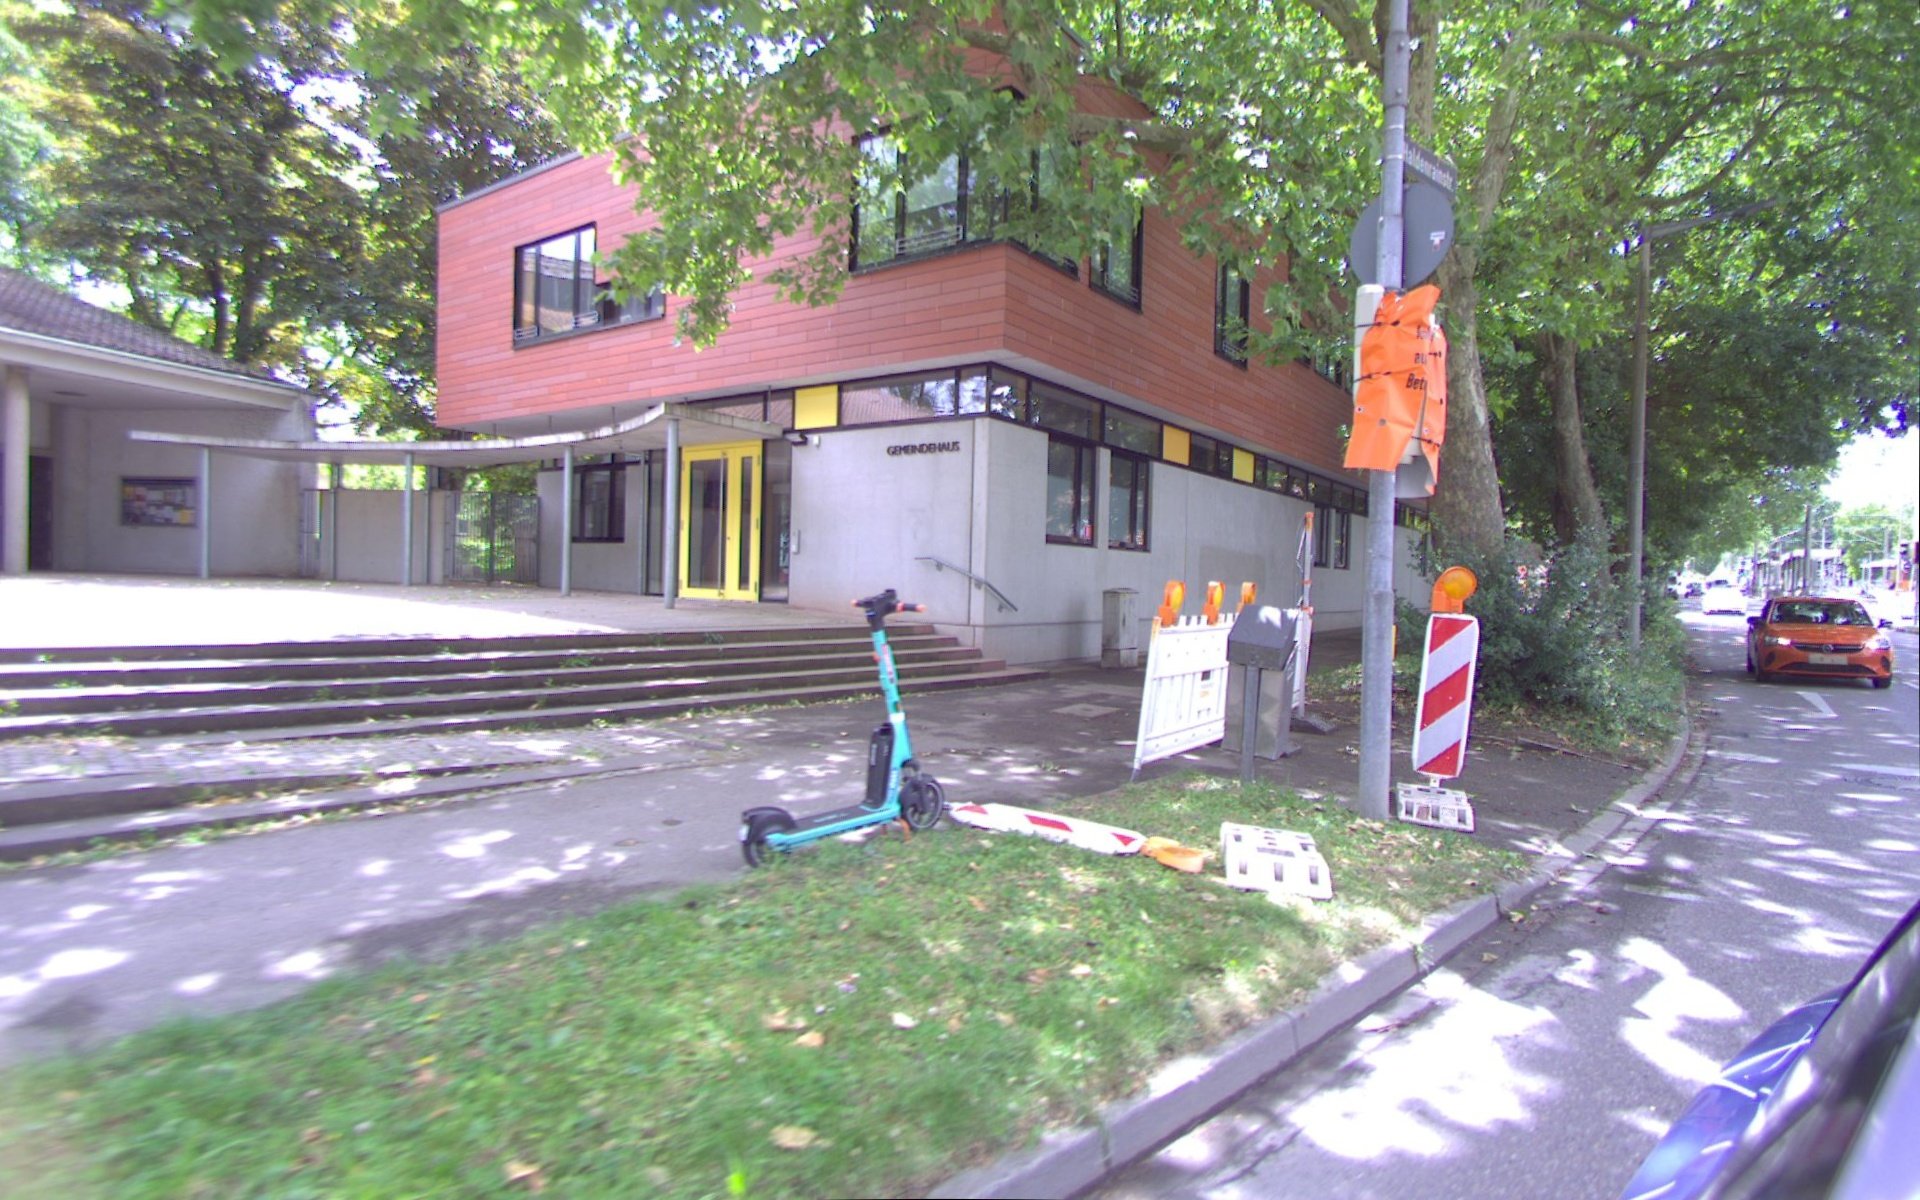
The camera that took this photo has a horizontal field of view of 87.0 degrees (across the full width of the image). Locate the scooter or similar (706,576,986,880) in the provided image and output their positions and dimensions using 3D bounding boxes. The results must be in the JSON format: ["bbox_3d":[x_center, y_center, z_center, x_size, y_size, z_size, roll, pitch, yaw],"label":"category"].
[{"bbox_3d":[-0.519,0.529,4.793,1.173,1.247,0.565,0,2,-40],"label":"scooter or similar"}]

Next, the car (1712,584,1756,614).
[{"bbox_3d":[39.914,-0.085,52.253,1.760,1.431,4.181,1,1,37],"label":"car"}]

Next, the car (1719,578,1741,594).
[{"bbox_3d":[91.191,-1.645,119.845,1.990,1.838,3.946,4,3,38],"label":"car"}]

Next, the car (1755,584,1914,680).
[{"bbox_3d":[14.884,0.494,17.408,1.760,1.452,3.788,1,0,36],"label":"car"}]

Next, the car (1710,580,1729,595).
[{"bbox_3d":[108.259,-1.765,144.302,1.987,2.039,3.949,1,1,35],"label":"car"}]

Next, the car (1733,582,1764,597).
[{"bbox_3d":[74.300,-1.013,95.400,1.987,1.370,3.727,3,3,34],"label":"car"}]
